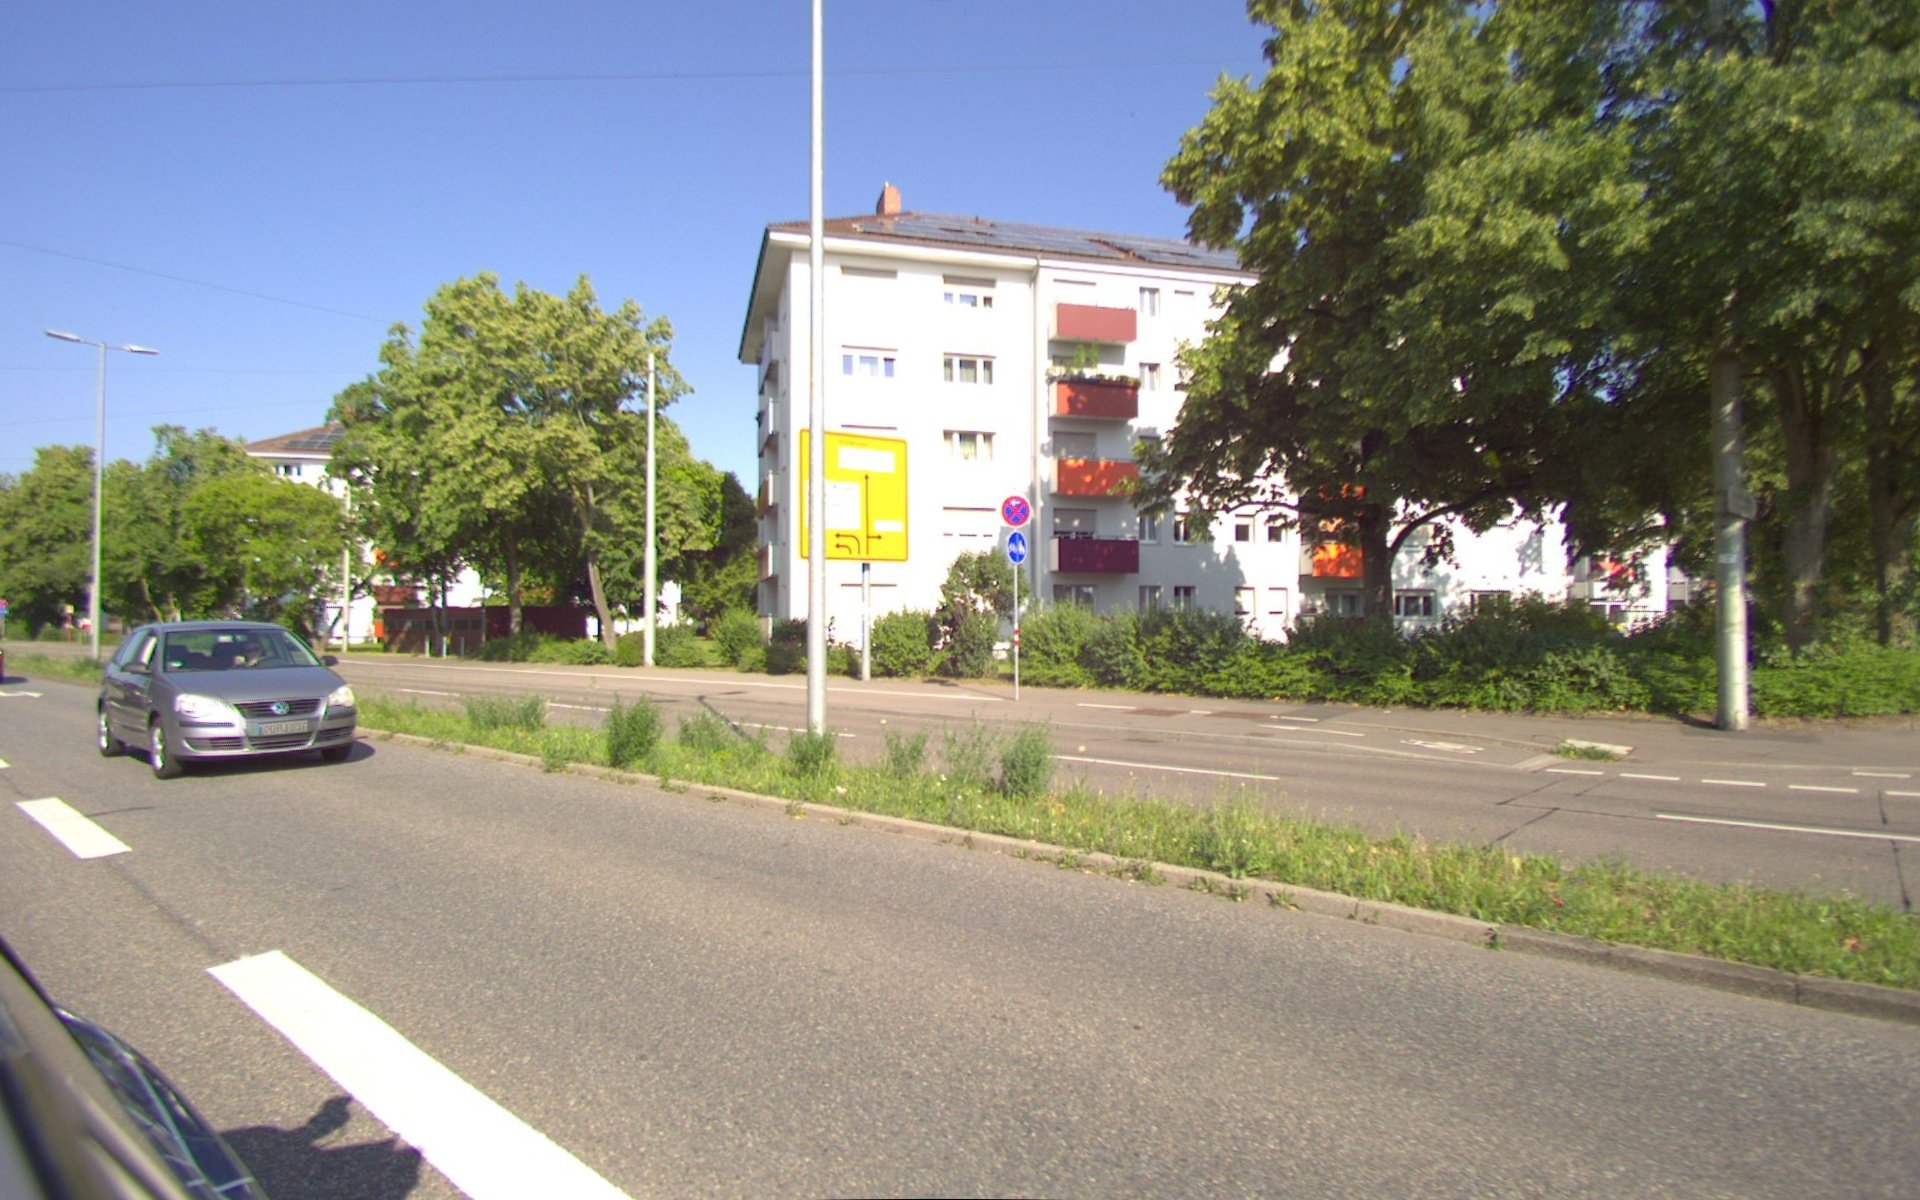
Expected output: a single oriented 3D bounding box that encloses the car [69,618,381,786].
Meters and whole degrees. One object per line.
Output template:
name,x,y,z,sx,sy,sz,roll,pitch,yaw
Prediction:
car,-7.846,0.940,10.699,3.827,1.439,1.672,-2,-1,38
